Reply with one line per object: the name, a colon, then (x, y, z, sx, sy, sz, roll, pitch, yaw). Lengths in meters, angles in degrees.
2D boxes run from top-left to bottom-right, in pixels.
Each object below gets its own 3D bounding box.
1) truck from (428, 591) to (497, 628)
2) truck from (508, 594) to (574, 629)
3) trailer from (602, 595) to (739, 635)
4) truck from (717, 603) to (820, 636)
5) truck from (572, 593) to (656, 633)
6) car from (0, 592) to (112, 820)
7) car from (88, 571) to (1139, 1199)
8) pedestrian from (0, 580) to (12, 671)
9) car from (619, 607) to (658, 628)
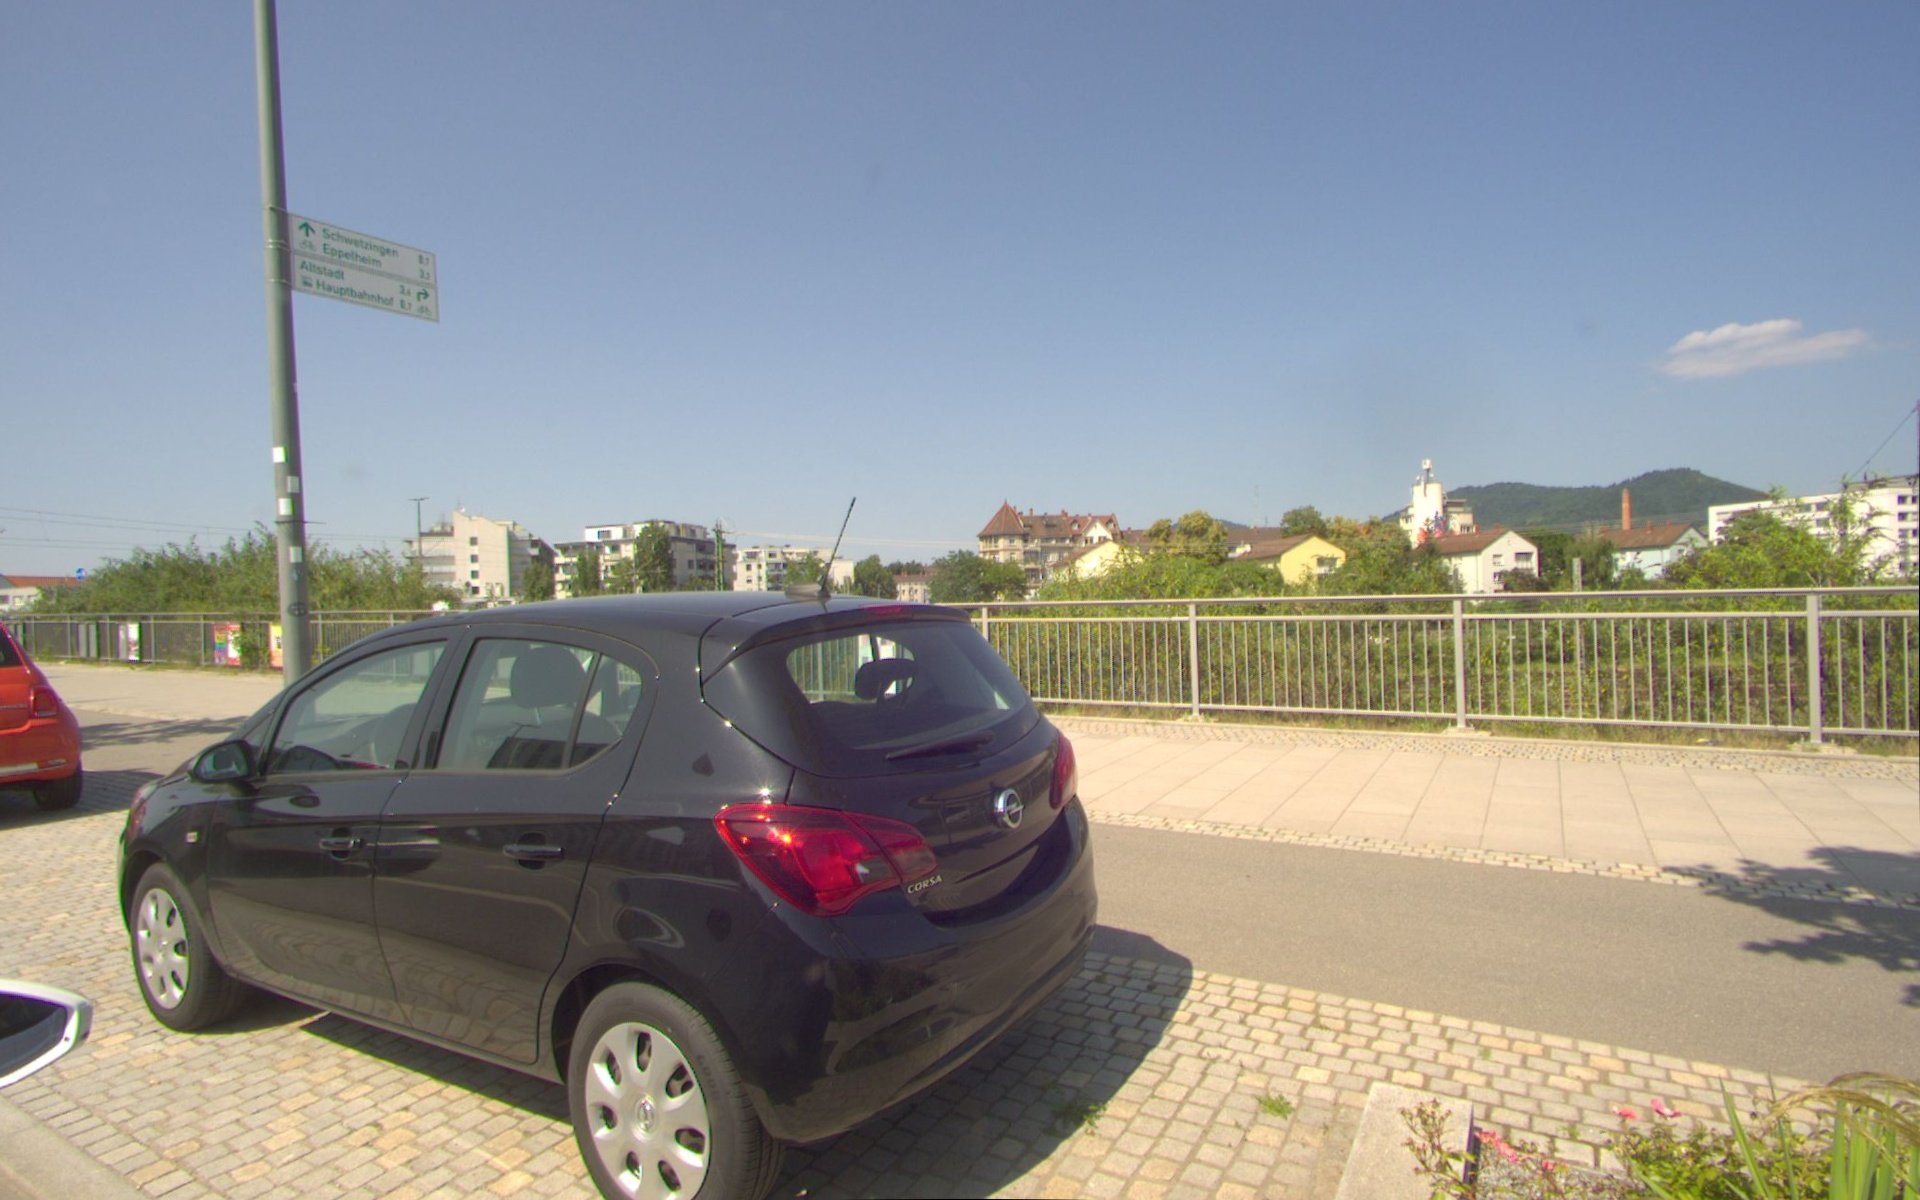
truck: (-37.402, 0.742, 75.388, 1.964, 2.572, 4.704, -1, -2, 17)
truck: (-37.040, 1.107, 88.748, 2.081, 2.919, 5.866, -1, -2, 19)
trailer: (-26.807, 1.564, 94.550, 3.674, 3.243, 17.244, -1, -3, 17)
truck: (-21.304, 2.373, 113.689, 3.674, 3.243, 17.876, -1, -3, 17)
truck: (-29.490, 1.194, 85.635, 3.672, 3.244, 6.485, -1, -2, 17)
car: (-8.339, 0.739, 7.758, 3.862, 1.561, 1.665, 0, 2, 34)
car: (-1.324, 0.741, 3.498, 3.495, 1.577, 1.577, -1, 2, 32)
pedestrian: (-19.914, 0.518, 20.333, 0.872, 1.853, 0.757, -1, -2, 32)
car: (-33.163, 1.851, 103.462, 1.964, 2.039, 3.997, -1, -2, 17)
